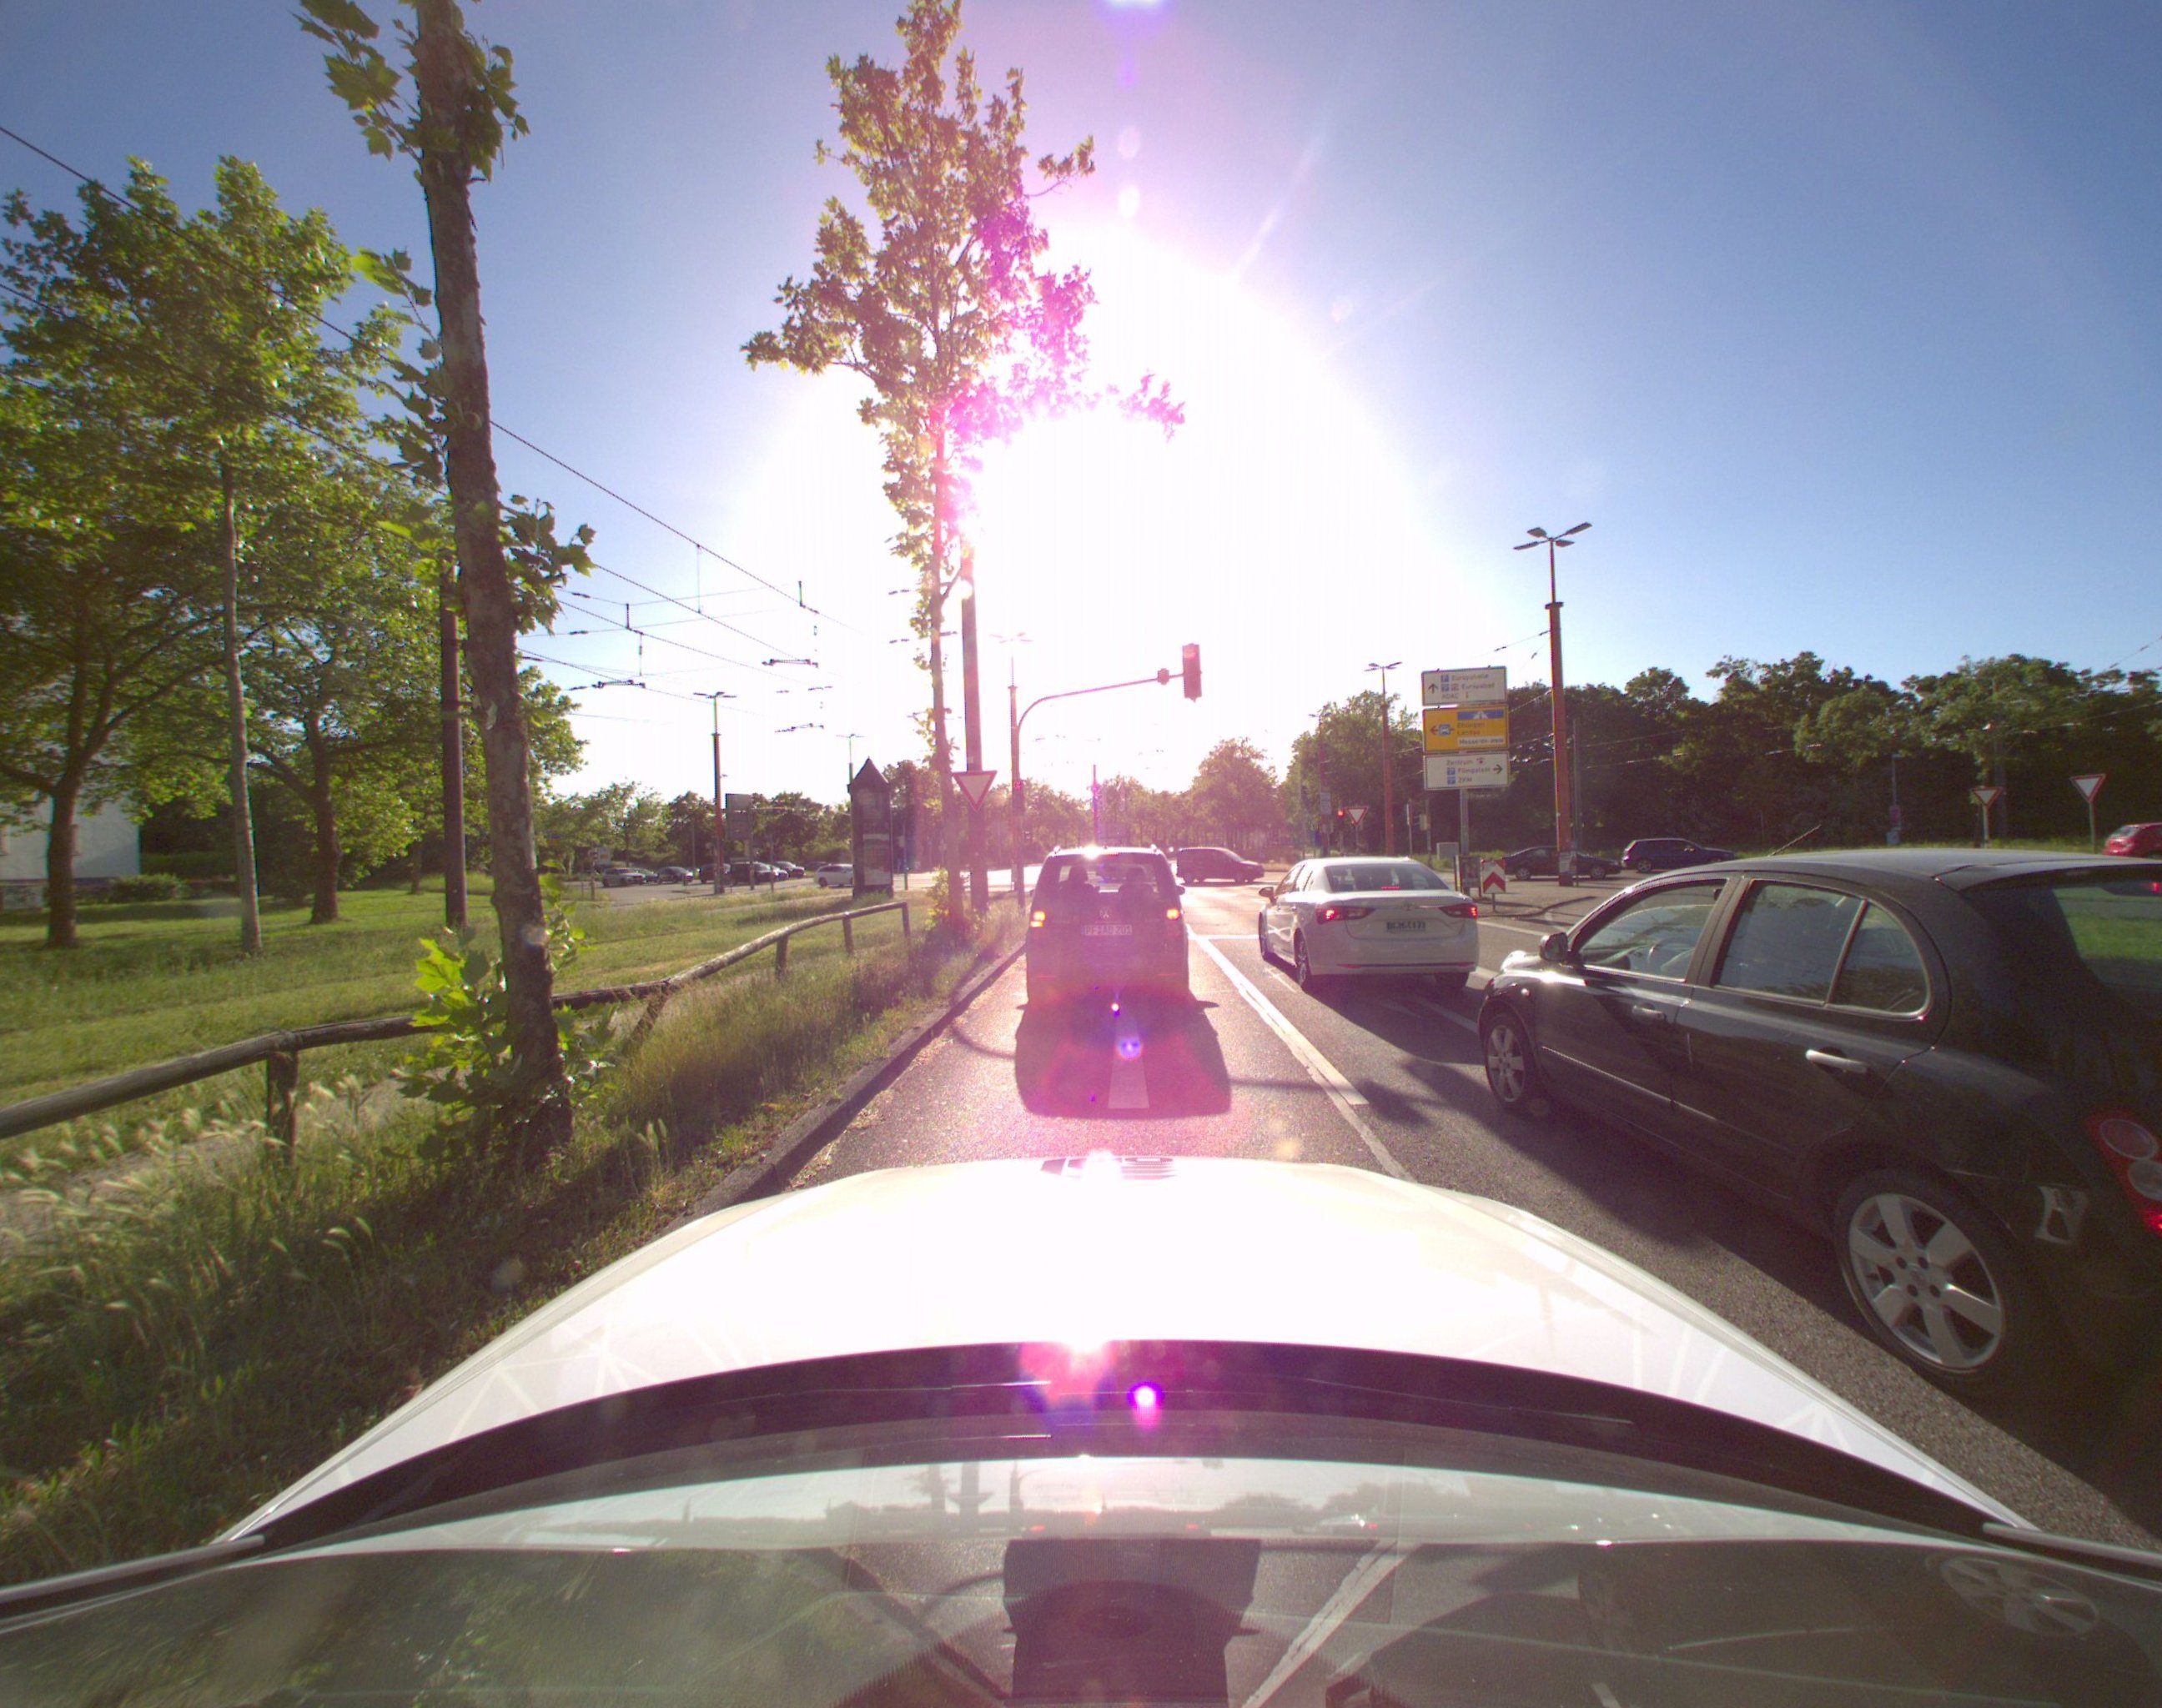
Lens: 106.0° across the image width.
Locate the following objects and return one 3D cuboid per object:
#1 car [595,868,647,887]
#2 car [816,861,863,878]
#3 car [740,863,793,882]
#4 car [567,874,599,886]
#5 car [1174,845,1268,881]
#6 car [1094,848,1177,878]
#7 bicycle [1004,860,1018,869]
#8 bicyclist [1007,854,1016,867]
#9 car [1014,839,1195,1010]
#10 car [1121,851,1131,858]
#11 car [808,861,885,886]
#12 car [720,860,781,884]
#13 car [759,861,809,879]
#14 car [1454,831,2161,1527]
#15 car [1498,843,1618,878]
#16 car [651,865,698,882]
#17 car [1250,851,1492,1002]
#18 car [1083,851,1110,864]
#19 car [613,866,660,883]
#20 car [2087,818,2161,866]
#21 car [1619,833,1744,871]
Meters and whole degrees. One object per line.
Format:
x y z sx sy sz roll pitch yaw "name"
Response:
-41.952 2.143 74.219 4.735 1.598 1.926 -2 0 29 "car"
-25.074 1.629 84.494 4.411 1.596 2.012 -2 0 28 "car"
-26.770 1.589 69.258 4.169 1.464 1.926 -2 0 29 "car"
-70.178 3.691 114.782 4.410 1.596 2.013 -2 0 30 "car"
7.190 0.476 41.879 4.302 1.732 1.854 -2 0 30 "car"
3.210 0.557 48.128 4.507 1.668 1.854 -2 0 30 "car"
-8.144 1.226 94.798 0.728 1.090 1.971 -2 0 21 "bicycle"
-8.113 0.760 95.019 0.686 1.457 0.879 -2 -1 20 "bicyclist"
0.293 0.695 9.994 1.731 1.641 4.002 -2 0 2 "car"
9.442 0.146 171.835 1.648 1.310 3.824 -2 0 9 "car"
-15.761 1.330 54.648 4.868 1.575 2.012 -2 0 28 "car"
-26.416 1.427 65.084 4.735 1.836 1.926 -2 0 29 "car"
-26.531 1.447 72.663 4.169 1.464 1.926 -2 0 29 "car"
3.164 0.692 3.518 1.550 1.506 3.517 -2 0 2 "car"
20.087 0.283 34.413 4.263 1.327 1.772 -2 0 31 "car"
-37.353 1.772 74.848 4.004 1.464 1.926 -2 0 28 "car"
3.294 0.718 10.121 1.708 1.454 4.147 -2 0 3 "car"
2.016 0.448 106.105 1.977 1.684 4.853 -2 0 20 "car"
-42.355 1.982 77.655 4.187 1.464 1.926 -2 0 28 "car"
35.295 -0.421 25.771 3.949 1.494 1.782 -2 0 29 "car"
25.750 -0.058 35.101 4.179 1.479 1.765 -2 0 32 "car"
